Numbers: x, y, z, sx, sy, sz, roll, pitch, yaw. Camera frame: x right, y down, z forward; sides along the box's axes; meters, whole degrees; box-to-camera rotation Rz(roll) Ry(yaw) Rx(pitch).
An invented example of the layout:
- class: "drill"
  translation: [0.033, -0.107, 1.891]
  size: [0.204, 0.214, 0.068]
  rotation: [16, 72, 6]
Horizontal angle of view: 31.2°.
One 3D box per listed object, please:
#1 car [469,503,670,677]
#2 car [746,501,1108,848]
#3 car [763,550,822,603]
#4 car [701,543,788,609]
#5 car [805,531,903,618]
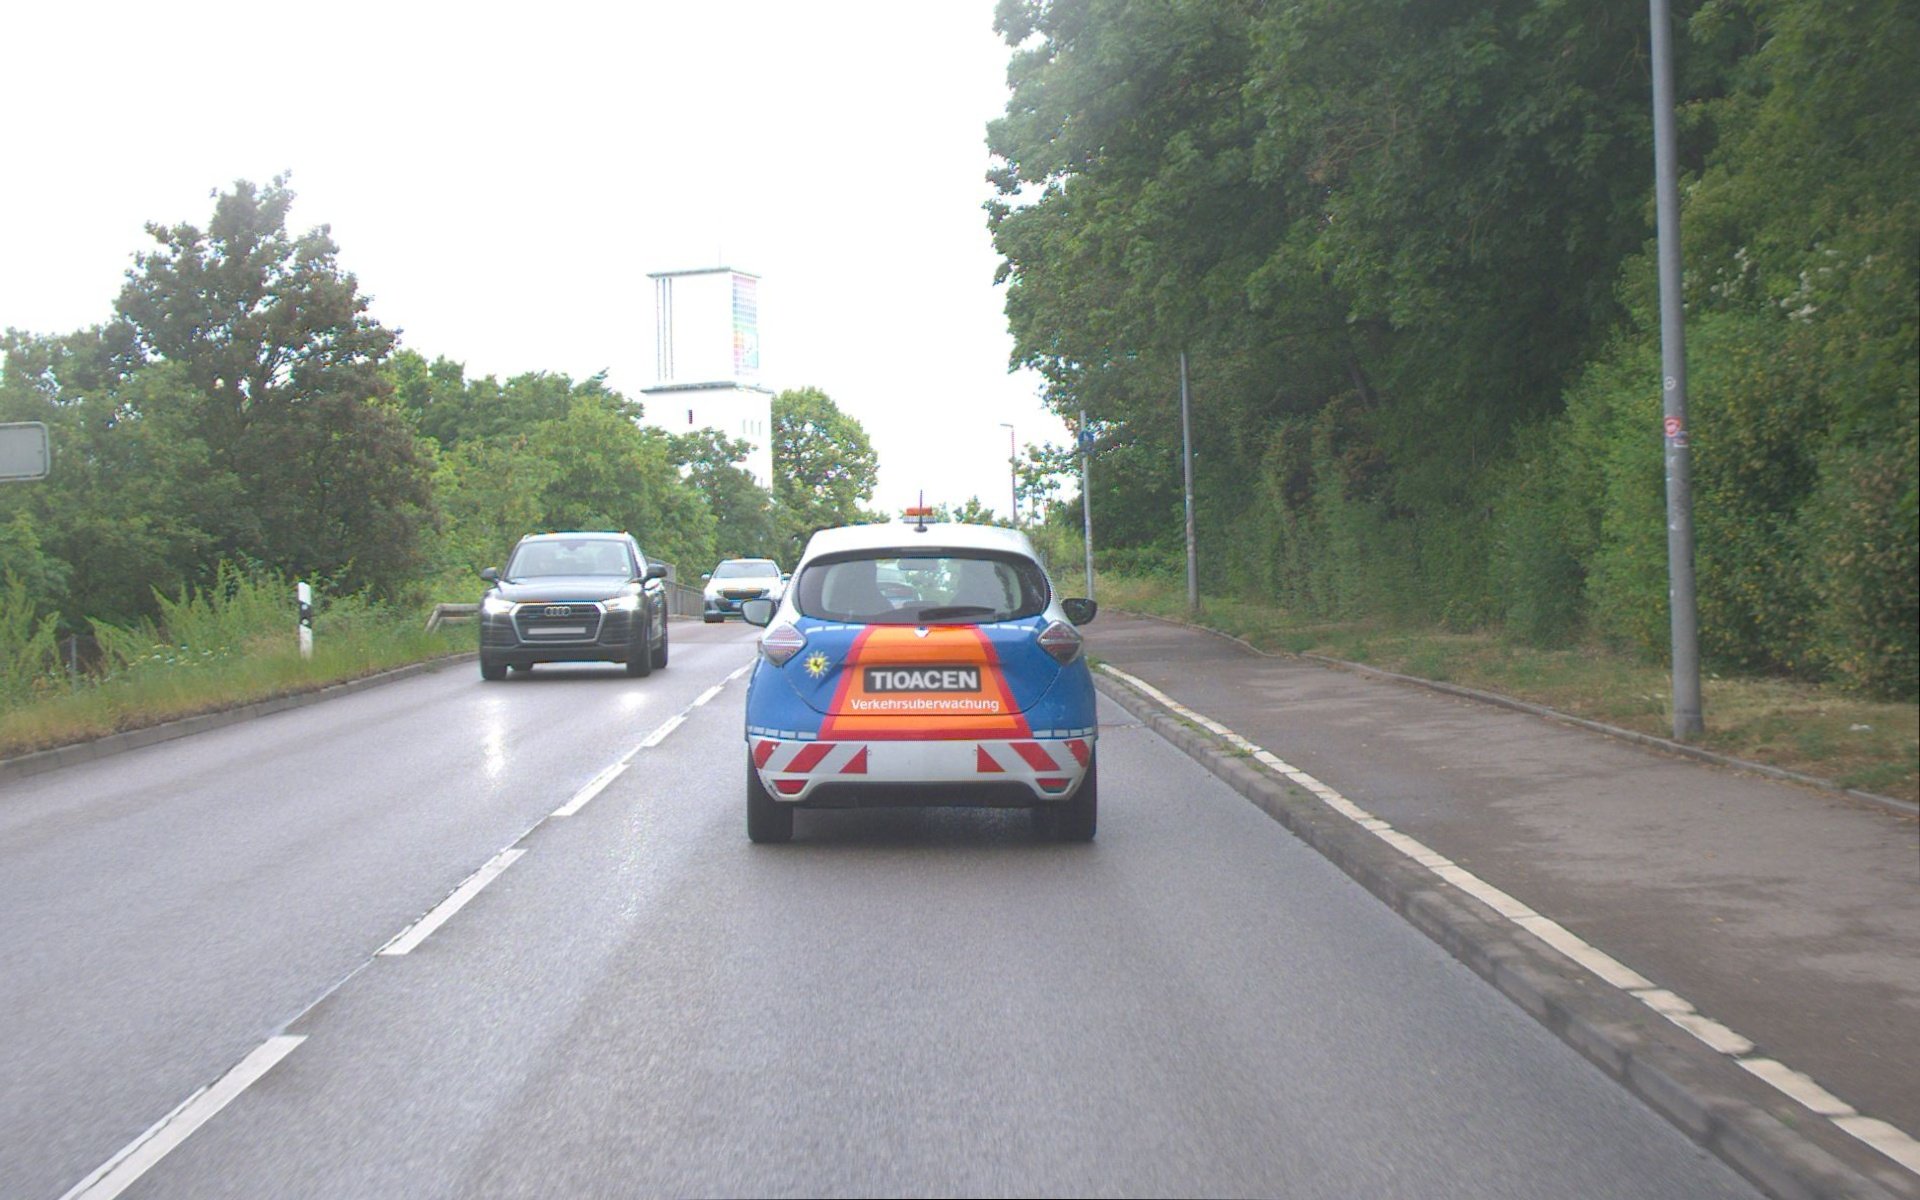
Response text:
- class: "car"
  translation: [-4.432, -0.169, 39.563]
  size: [1.869, 1.580, 4.416]
  rotation: [3, 4, -2]
- class: "car"
  translation: [-0.187, 0.344, 17.740]
  size: [1.657, 1.587, 3.568]
  rotation: [-1, 0, -1]
- class: "car"
  translation: [-5.242, -0.756, 107.927]
  size: [1.730, 1.580, 4.081]
  rotation: [-1, 1, -1]
- class: "car"
  translation: [-5.074, -0.595, 81.585]
  size: [1.861, 1.498, 4.729]
  rotation: [-1, 1, -1]
- class: "car"
  translation: [-2.075, -0.508, 67.040]
  size: [1.802, 1.584, 3.563]
  rotation: [-2, 1, -2]
